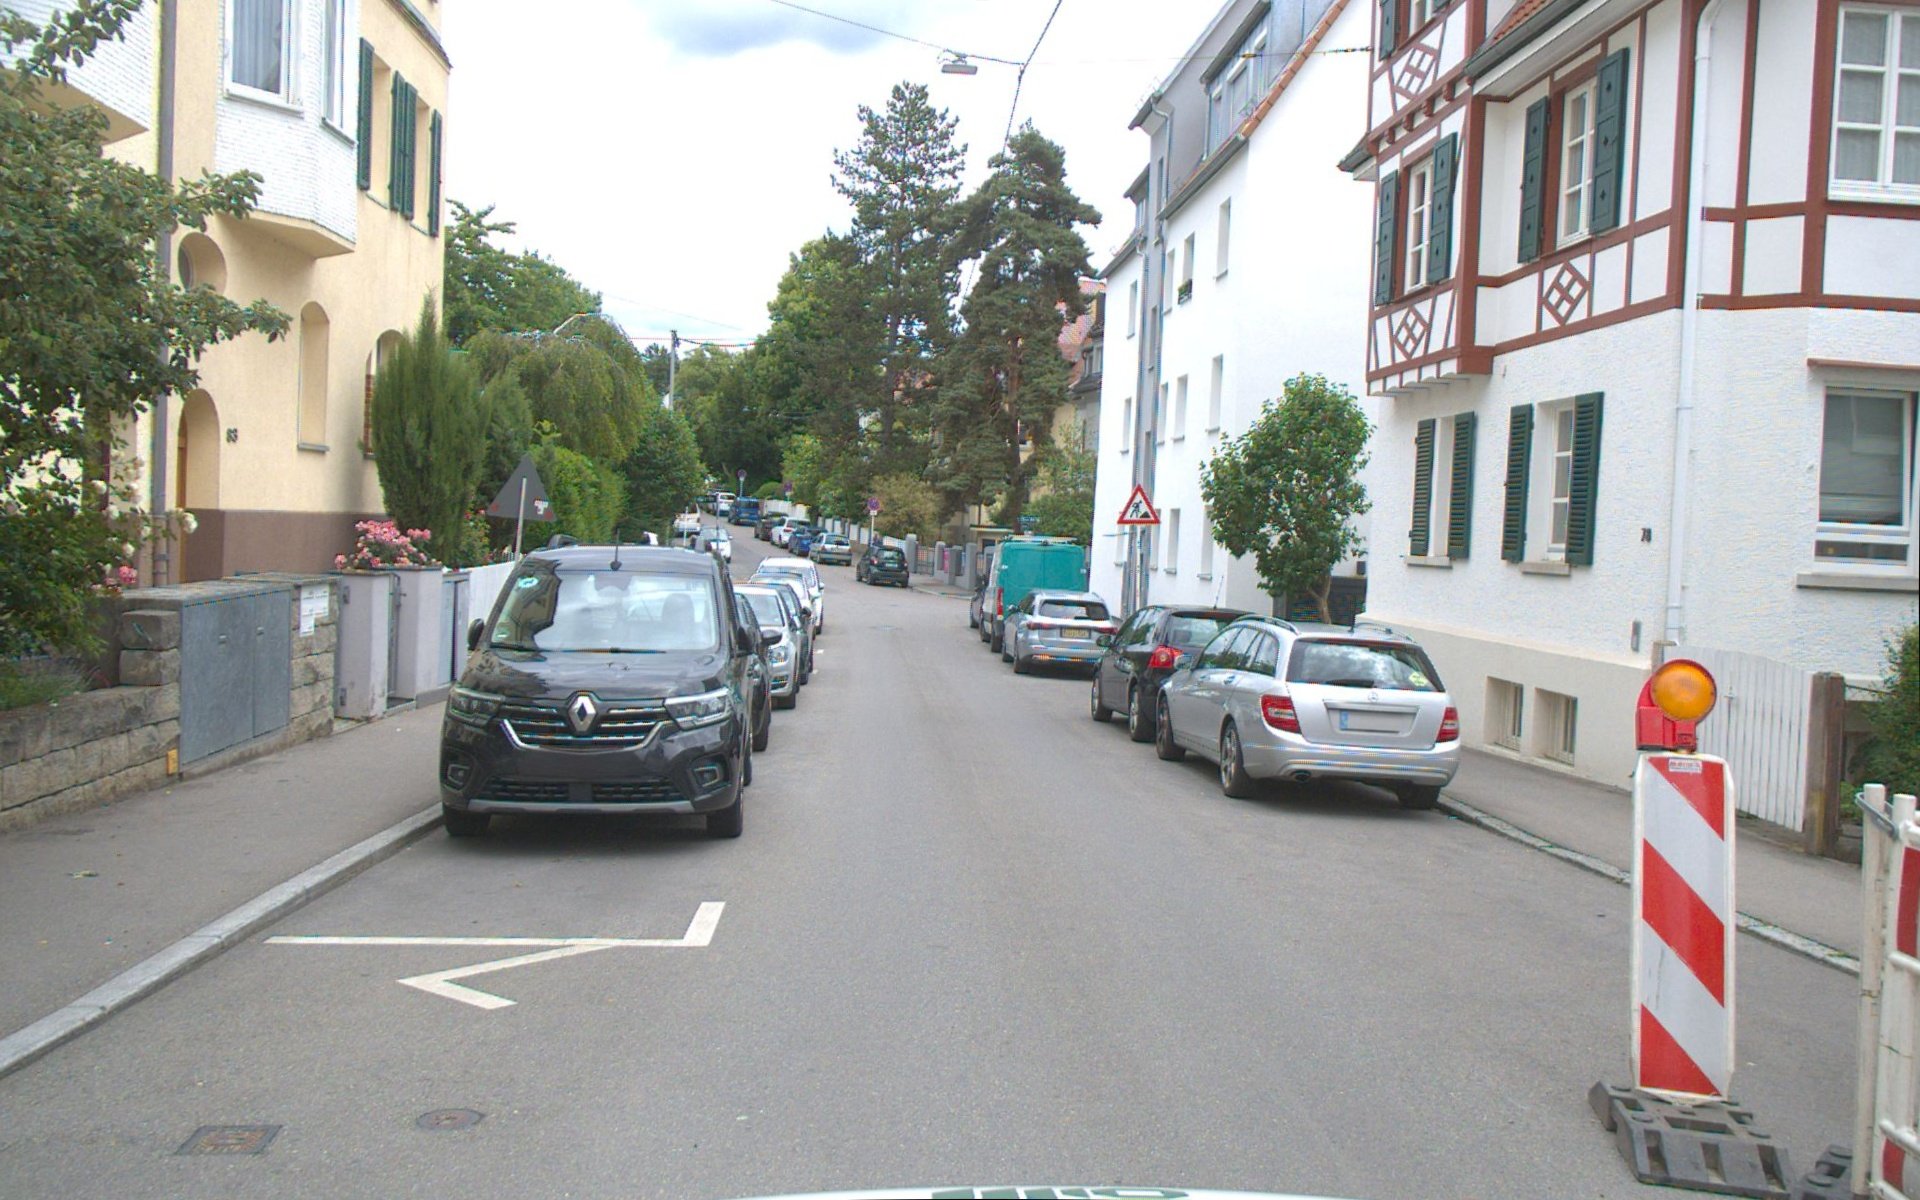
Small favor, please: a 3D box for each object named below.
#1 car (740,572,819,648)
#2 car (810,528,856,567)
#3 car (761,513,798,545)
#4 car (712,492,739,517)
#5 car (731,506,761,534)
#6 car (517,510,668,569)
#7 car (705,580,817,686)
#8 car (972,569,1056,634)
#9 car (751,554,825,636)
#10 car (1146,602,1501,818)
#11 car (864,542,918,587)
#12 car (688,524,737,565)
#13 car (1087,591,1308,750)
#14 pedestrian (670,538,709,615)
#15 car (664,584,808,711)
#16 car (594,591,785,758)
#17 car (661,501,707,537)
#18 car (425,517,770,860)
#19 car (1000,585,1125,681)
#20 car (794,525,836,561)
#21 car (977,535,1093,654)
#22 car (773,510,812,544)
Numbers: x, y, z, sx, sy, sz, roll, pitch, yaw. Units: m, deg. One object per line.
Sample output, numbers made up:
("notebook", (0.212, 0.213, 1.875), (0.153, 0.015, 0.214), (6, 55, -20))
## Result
("car", (-3.862, 0.184, 35.852), (1.565, 1.437, 3.660), (1, 2, -5))
("car", (-6.006, -2.499, 78.052), (1.606, 1.509, 3.521), (3, 4, -13))
("car", (-10.303, -4.075, 94.312), (1.606, 1.563, 3.521), (3, 4, -13))
("car", (-16.808, -6.869, 118.470), (1.606, 1.563, 3.521), (3, 4, -13))
("car", (-14.044, -5.268, 108.490), (1.606, 1.563, 3.521), (3, 4, -13))
("car", (-12.324, -2.000, 55.706), (1.962, 1.668, 4.791), (4, 1, 38))
("car", (-3.084, 0.458, 26.212), (1.565, 1.504, 3.987), (1, 1, -5))
("car", (1.346, 0.010, 42.760), (1.691, 1.473, 3.877), (2, 2, -5))
("car", (-4.109, -0.165, 39.915), (1.639, 1.685, 3.861), (1, 3, -5))
("car", (2.991, 0.832, 14.651), (1.783, 1.467, 4.447), (3, 0, -5))
("car", (-2.804, -1.442, 66.544), (1.605, 1.509, 3.522), (4, 4, -11))
("car", (-11.268, -2.547, 75.127), (1.645, 1.685, 3.847), (1, 4, -17))
("car", (2.646, 0.734, 19.290), (1.657, 1.546, 3.877), (3, 0, -5))
("pedestrian", (-7.108, -0.616, 43.516), (0.775, 1.966, 0.919), (3, 1, -1))
("car", (-2.816, 0.549, 21.465), (1.610, 1.441, 3.980), (1, 1, -5))
("car", (-2.591, 0.650, 16.537), (1.610, 1.412, 3.855), (1, 1, -6))
("car", (-15.592, -4.587, 93.278), (1.874, 1.908, 4.574), (1, 4, -18))
("car", (-2.238, 0.495, 11.334), (1.810, 1.847, 4.538), (1, 0, -7))
("car", (1.803, 0.550, 30.168), (1.691, 1.473, 3.877), (2, 2, -5))
("car", (-7.259, -2.883, 82.612), (1.606, 1.509, 3.521), (3, 4, -13))
("car", (1.574, -0.176, 36.509), (1.941, 2.403, 4.273), (2, 1, -5))
("car", (-8.963, -3.939, 88.506), (1.606, 1.563, 3.521), (3, 4, -13))
